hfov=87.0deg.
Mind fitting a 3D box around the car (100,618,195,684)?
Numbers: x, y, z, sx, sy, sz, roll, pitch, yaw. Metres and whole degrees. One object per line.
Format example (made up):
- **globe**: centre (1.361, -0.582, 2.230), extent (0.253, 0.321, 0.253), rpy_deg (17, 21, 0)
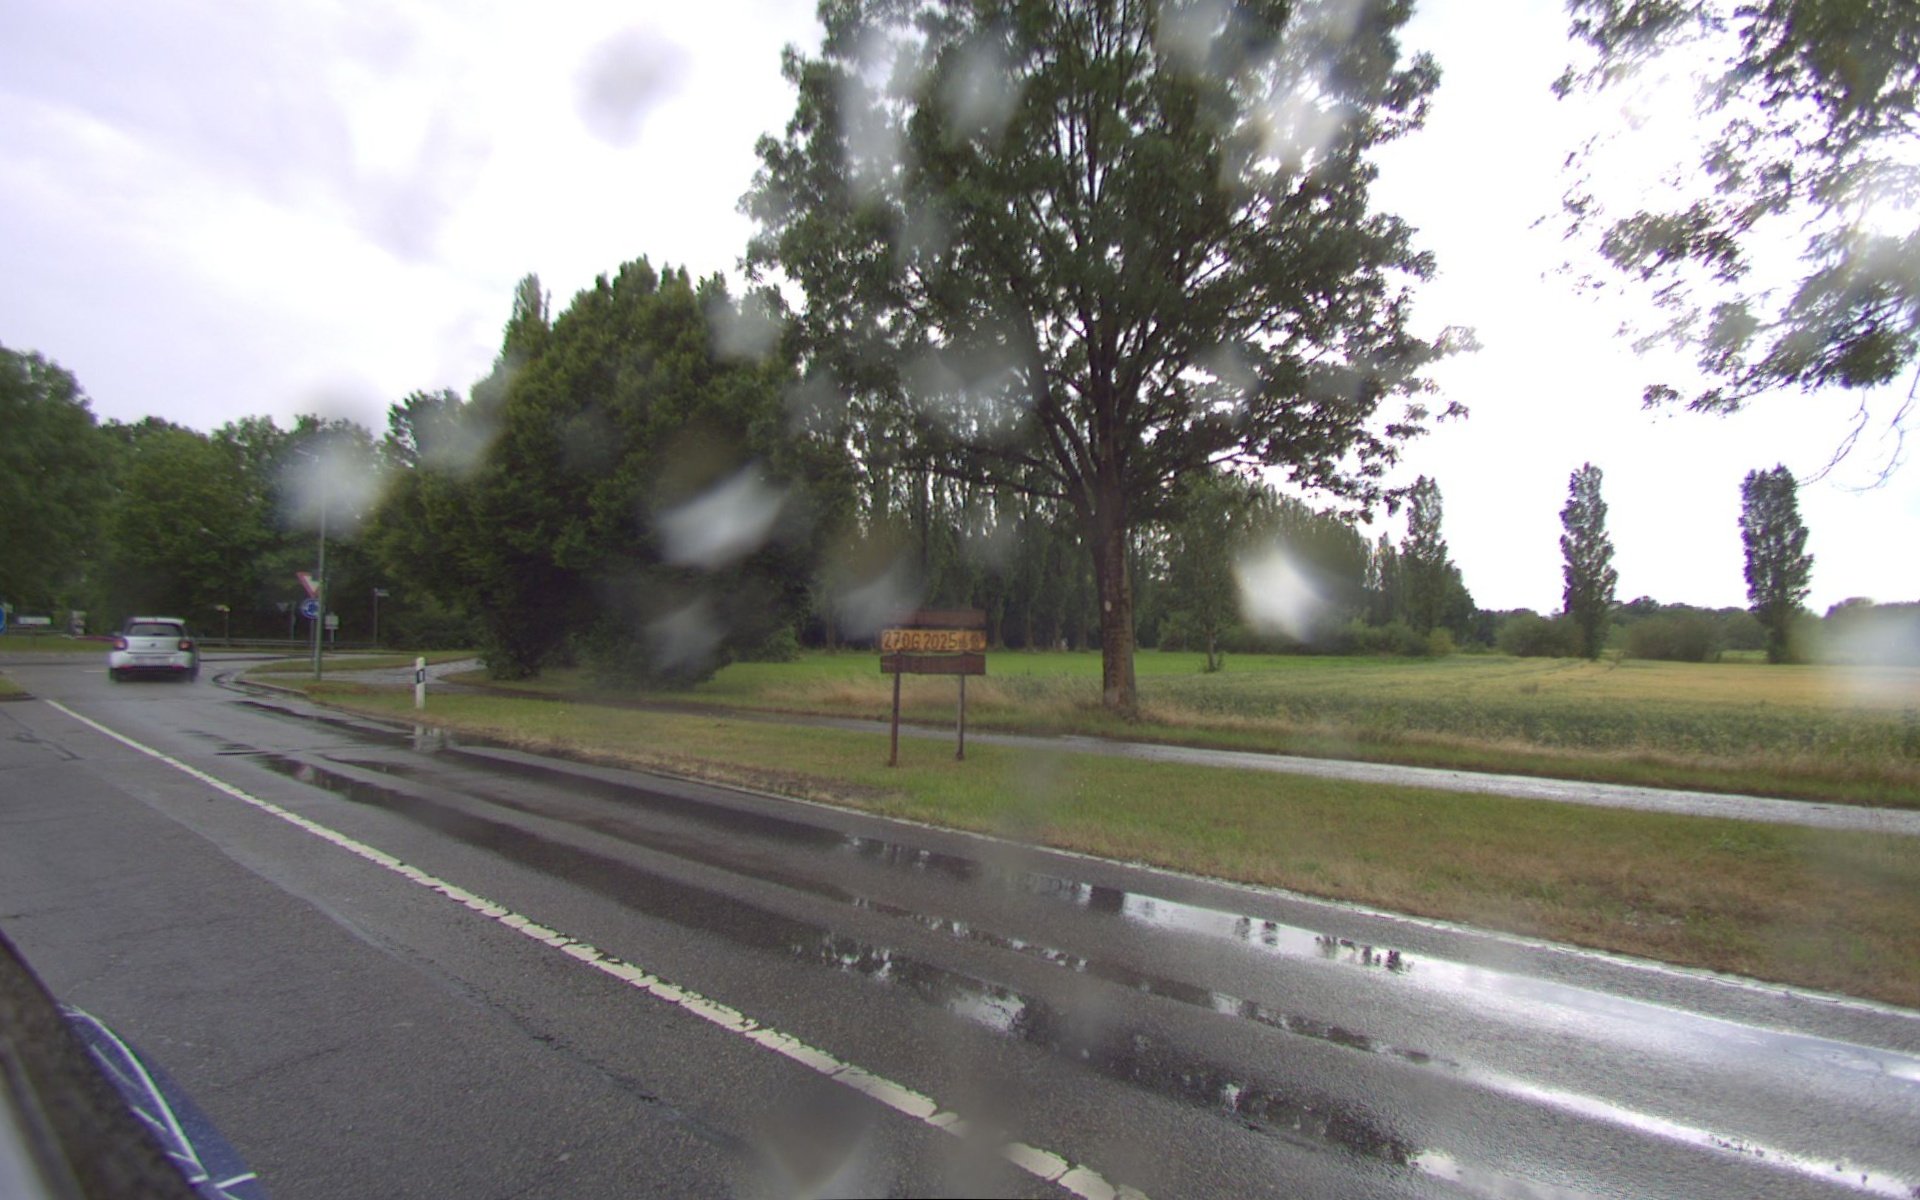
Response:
- **car**: centre (-20.452, 1.266, 25.459), extent (1.654, 1.510, 3.740), rpy_deg (5, -5, -40)
